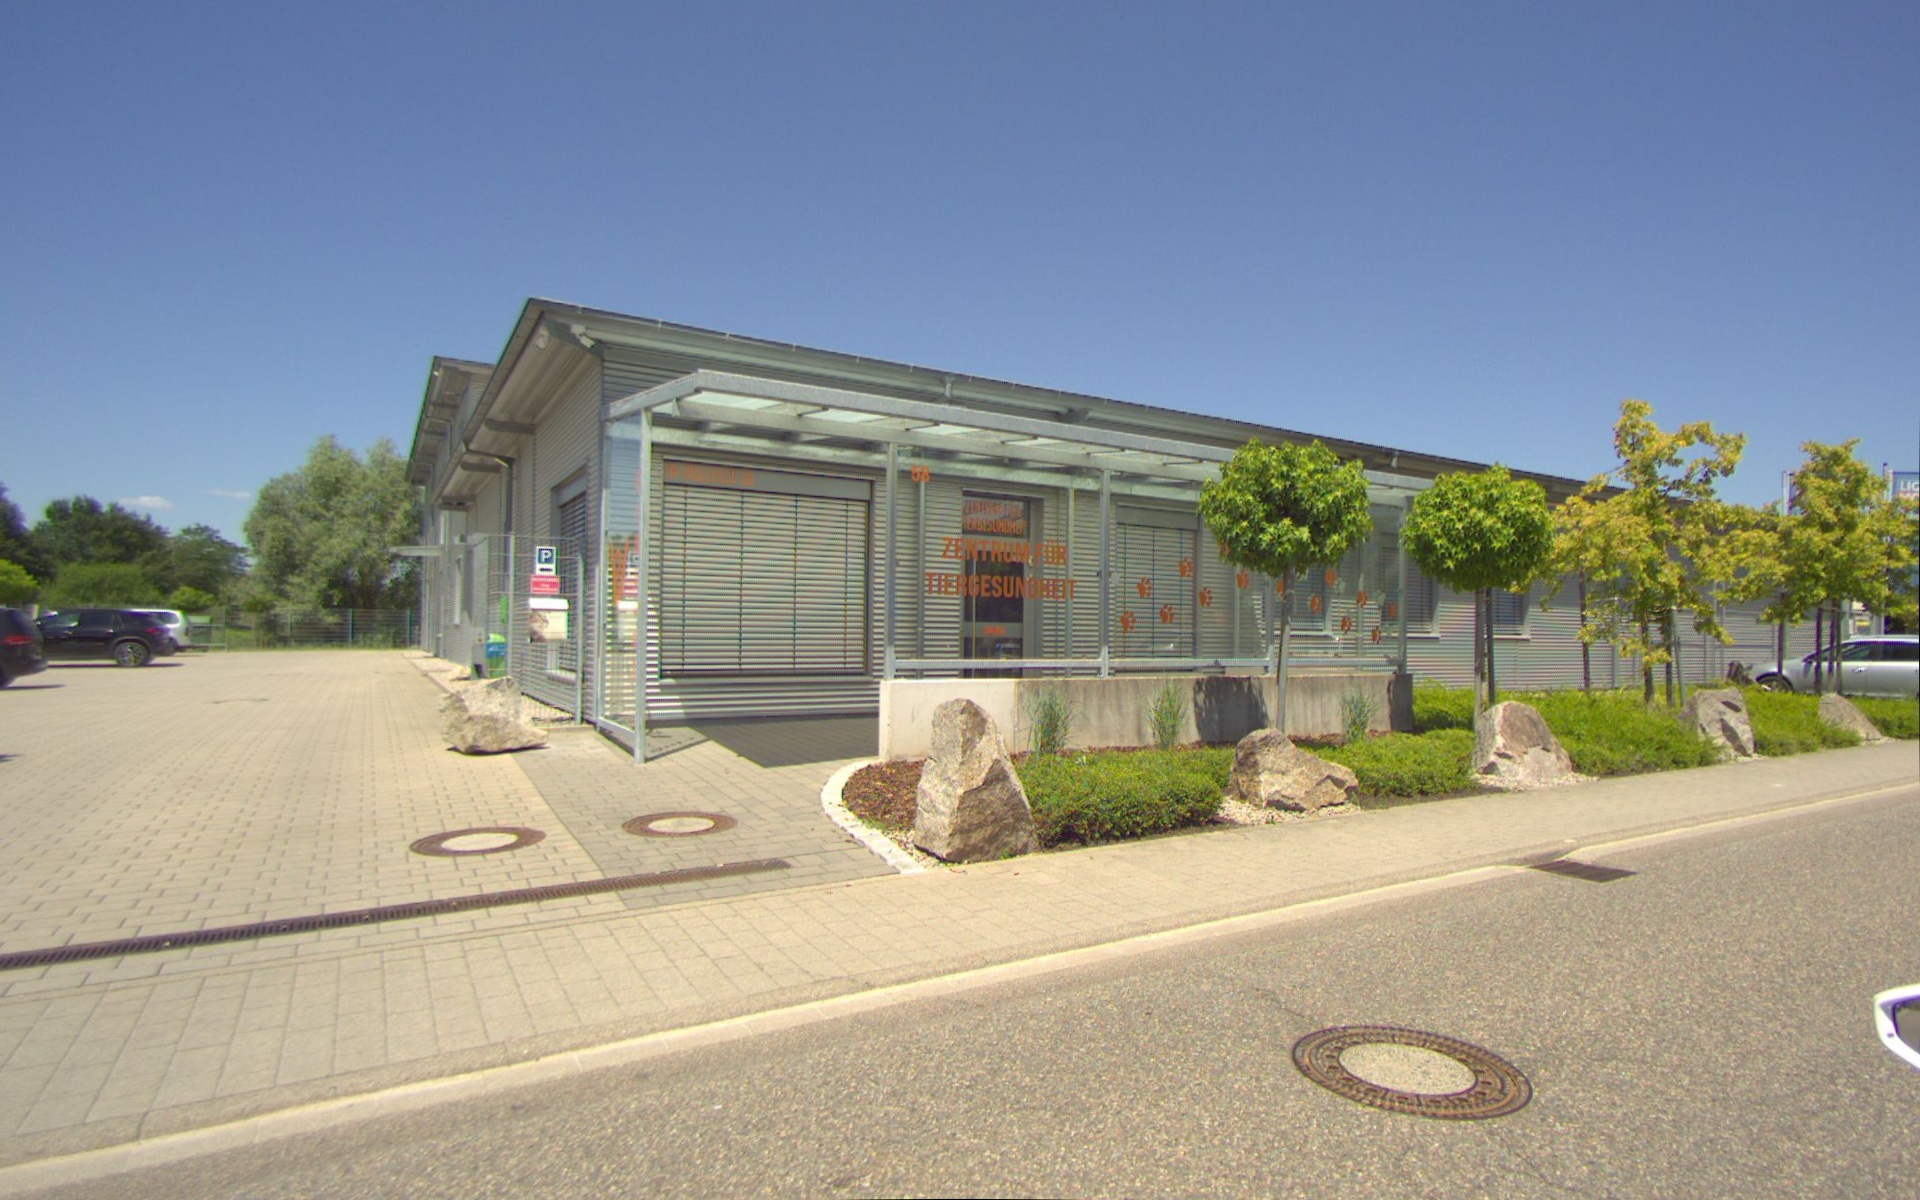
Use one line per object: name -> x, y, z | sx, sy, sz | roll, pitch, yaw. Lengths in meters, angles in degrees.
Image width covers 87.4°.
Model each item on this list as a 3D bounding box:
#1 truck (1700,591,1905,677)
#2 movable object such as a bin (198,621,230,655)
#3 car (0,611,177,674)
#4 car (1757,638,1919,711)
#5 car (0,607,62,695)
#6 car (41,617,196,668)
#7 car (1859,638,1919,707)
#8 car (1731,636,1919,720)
truck -> 38.776, 1.500, 46.706 | 2.536, 3.604, 8.062 | 1, -1, -2
movable object such as a bin -> -30.694, 1.562, 41.339 | 1.018, 1.392, 0.729 | 1, -1, -37
car -> -24.412, 1.153, 28.045 | 3.963, 1.670, 1.979 | 1, -1, -37
car -> 19.844, 1.552, 21.274 | 1.824, 1.450, 4.290 | 2, -2, -29
car -> -19.932, 0.958, 19.181 | 3.963, 1.670, 1.979 | 1, -1, -37
car -> -28.837, 1.425, 34.605 | 3.963, 1.670, 1.979 | 1, -1, -37
car -> 22.229, 1.635, 22.564 | 1.518, 1.538, 2.726 | 2, -2, -32
car -> 18.073, 1.498, 19.784 | 1.845, 1.538, 4.240 | 2, -2, -32
